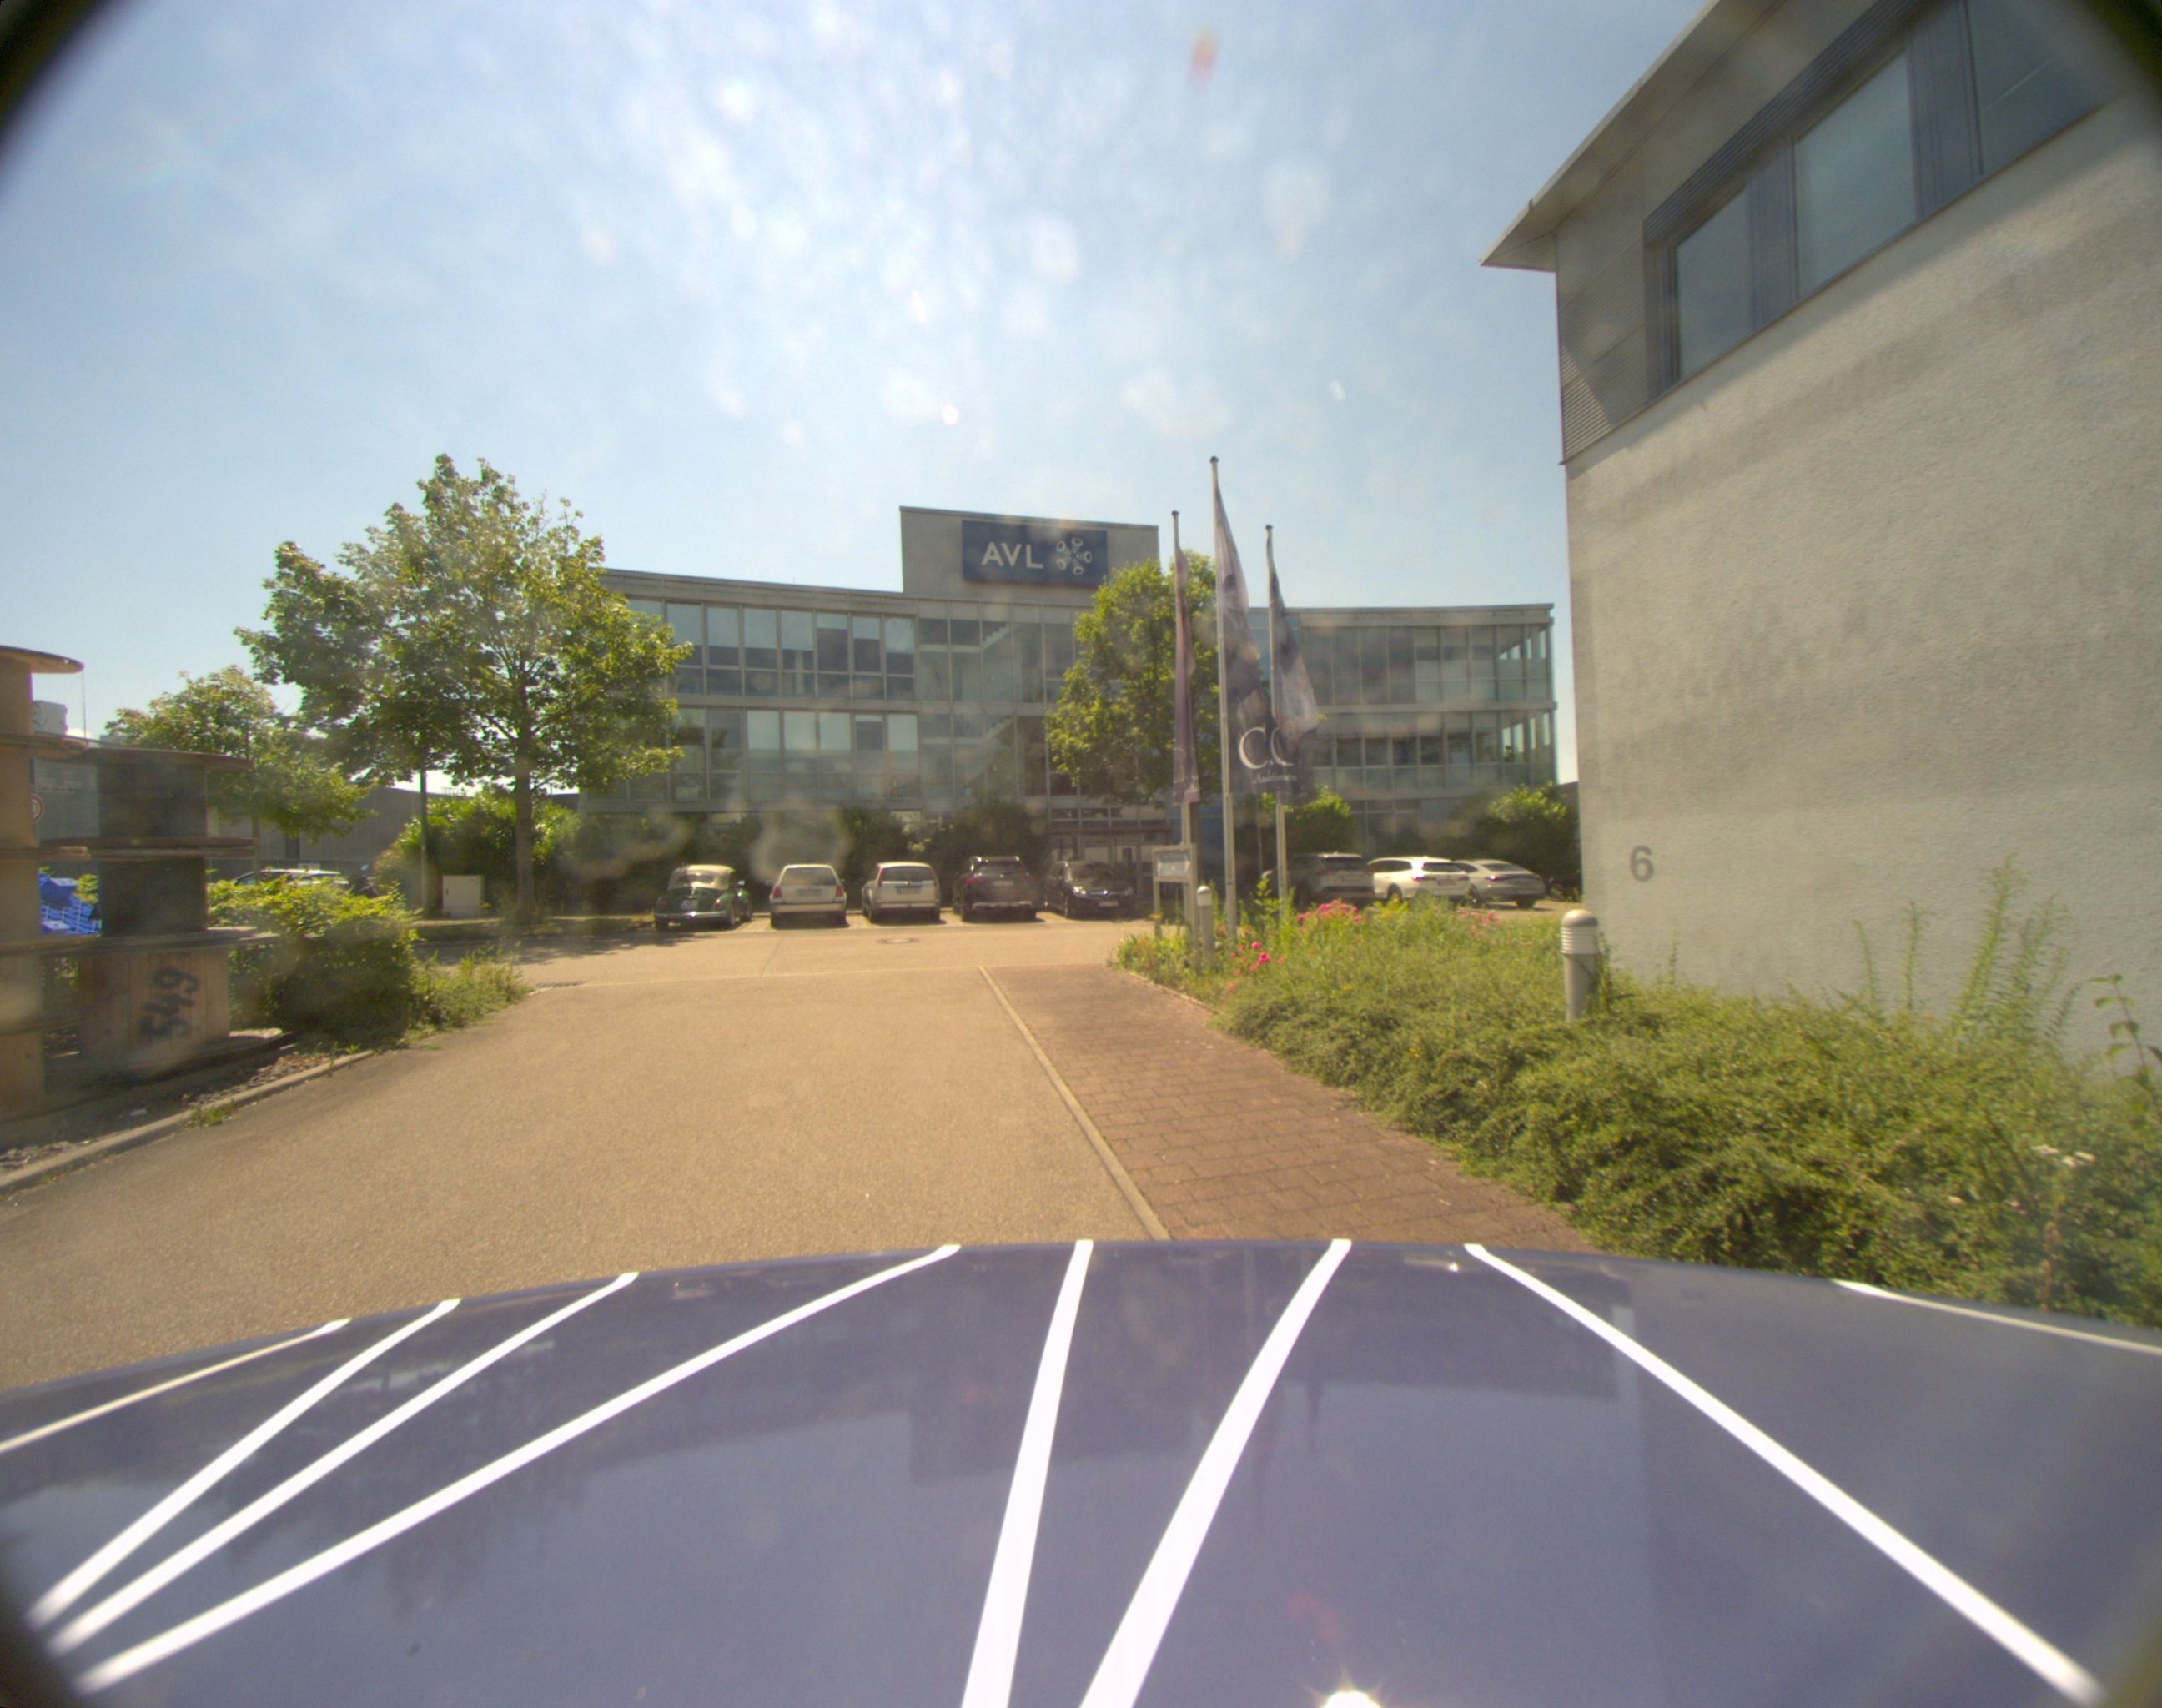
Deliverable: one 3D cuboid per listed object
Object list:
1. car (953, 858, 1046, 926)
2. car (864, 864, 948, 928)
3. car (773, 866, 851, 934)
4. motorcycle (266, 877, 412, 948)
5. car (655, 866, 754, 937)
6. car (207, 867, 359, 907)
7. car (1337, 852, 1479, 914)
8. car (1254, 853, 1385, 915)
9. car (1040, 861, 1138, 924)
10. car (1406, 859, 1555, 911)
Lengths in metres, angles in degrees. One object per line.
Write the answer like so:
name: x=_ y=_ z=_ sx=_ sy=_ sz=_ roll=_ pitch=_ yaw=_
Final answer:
car: x=-2.271 y=0.920 z=20.326 sx=1.941 sy=1.593 sz=3.854 roll=0 pitch=0 yaw=-14
car: x=-4.670 y=1.018 z=19.918 sx=1.734 sy=1.443 sz=3.594 roll=0 pitch=0 yaw=-20
car: x=-6.655 y=1.047 z=18.805 sx=1.645 sy=1.443 sz=3.594 roll=0 pitch=0 yaw=-20
motorcycle: x=-15.476 y=1.166 z=15.998 sx=0.874 sy=1.252 sz=2.832 roll=-1 pitch=1 yaw=-15
car: x=-8.842 y=1.046 z=18.097 sx=1.524 sy=1.437 sz=3.414 roll=0 pitch=0 yaw=-16
car: x=-32.481 y=1.327 z=30.994 sx=4.410 sy=1.467 sz=1.781 roll=-1 pitch=0 yaw=3
car: x=9.530 y=0.780 z=22.535 sx=1.834 sy=1.628 sz=4.167 roll=-1 pitch=0 yaw=-11
car: x=6.894 y=0.811 z=22.471 sx=1.834 sy=1.628 sz=4.166 roll=-1 pitch=0 yaw=-13
car: x=0.092 y=0.972 z=21.030 sx=1.732 sy=1.475 sz=4.392 roll=-1 pitch=0 yaw=-13
car: x=11.896 y=0.867 z=22.978 sx=1.753 sy=1.392 sz=4.167 roll=-1 pitch=0 yaw=-11
